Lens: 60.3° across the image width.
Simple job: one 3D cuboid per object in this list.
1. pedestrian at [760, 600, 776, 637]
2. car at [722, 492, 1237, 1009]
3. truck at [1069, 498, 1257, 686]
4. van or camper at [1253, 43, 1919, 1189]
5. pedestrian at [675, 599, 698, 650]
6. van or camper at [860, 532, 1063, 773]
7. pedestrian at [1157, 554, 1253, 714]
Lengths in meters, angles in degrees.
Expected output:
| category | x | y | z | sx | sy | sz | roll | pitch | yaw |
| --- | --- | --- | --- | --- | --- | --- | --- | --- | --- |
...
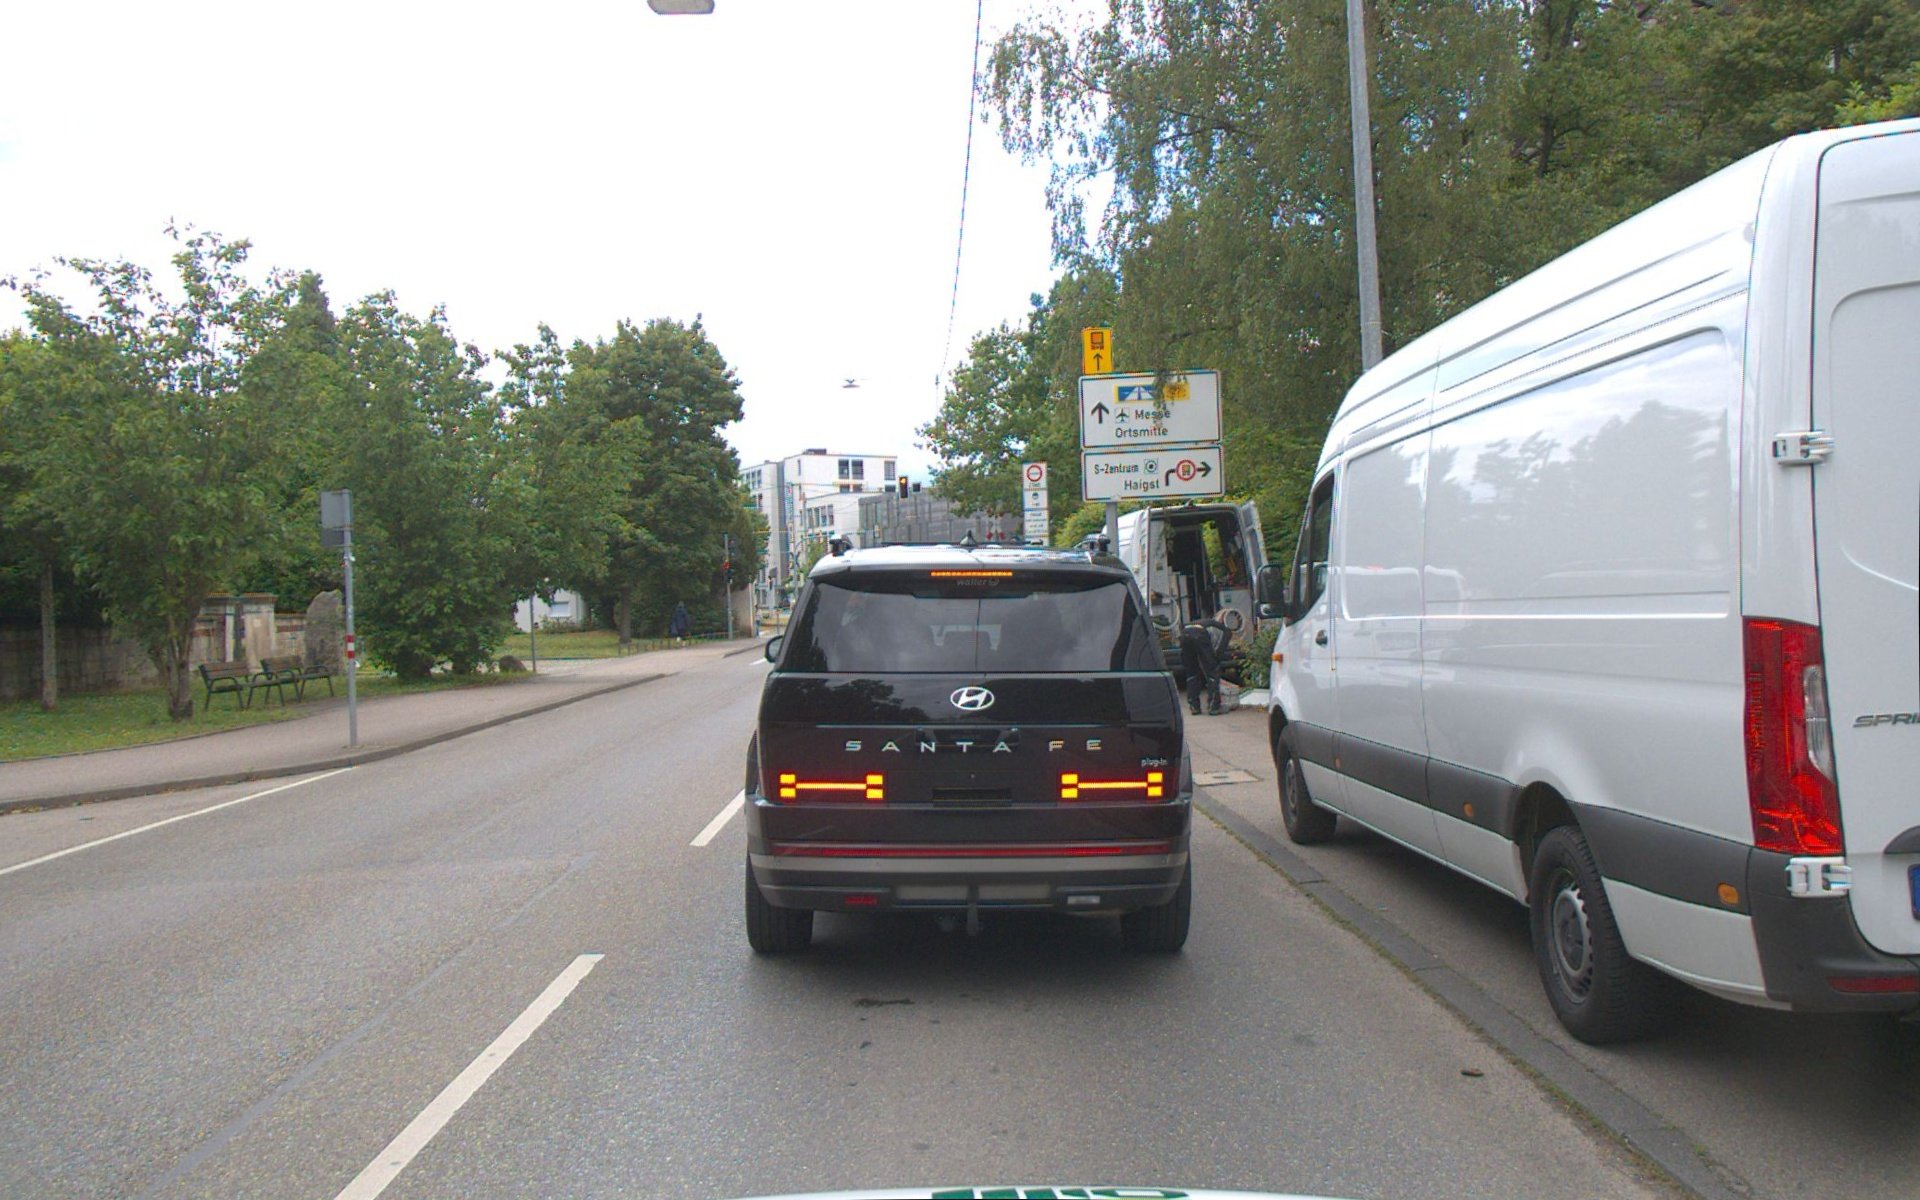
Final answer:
| category | x | y | z | sx | sy | sz | roll | pitch | yaw |
| --- | --- | --- | --- | --- | --- | --- | --- | --- | --- |
| pedestrian | -9.214 | 0.882 | 79.334 | 0.724 | 1.745 | 0.791 | -2 | 0 | -8 |
| car | 0.045 | 0.535 | 7.952 | 1.851 | 1.851 | 3.999 | 0 | 0 | -1 |
| truck | 3.105 | -0.100 | 26.461 | 1.904 | 2.606 | 5.211 | -3 | 0 | -4 |
| van or camper | 2.904 | 0.004 | 7.147 | 1.953 | 2.665 | 6.540 | -2 | 0 | -1 |
| pedestrian | -9.425 | 0.834 | 56.996 | 0.724 | 1.745 | 0.791 | -2 | 0 | -8 |
| van or camper | -0.018 | 0.456 | 16.451 | 1.719 | 2.049 | 3.999 | -2 | 0 | -1 |
| pedestrian | 2.879 | 0.385 | 19.405 | 0.745 | 1.828 | 0.869 | -2 | 0 | 38 |
